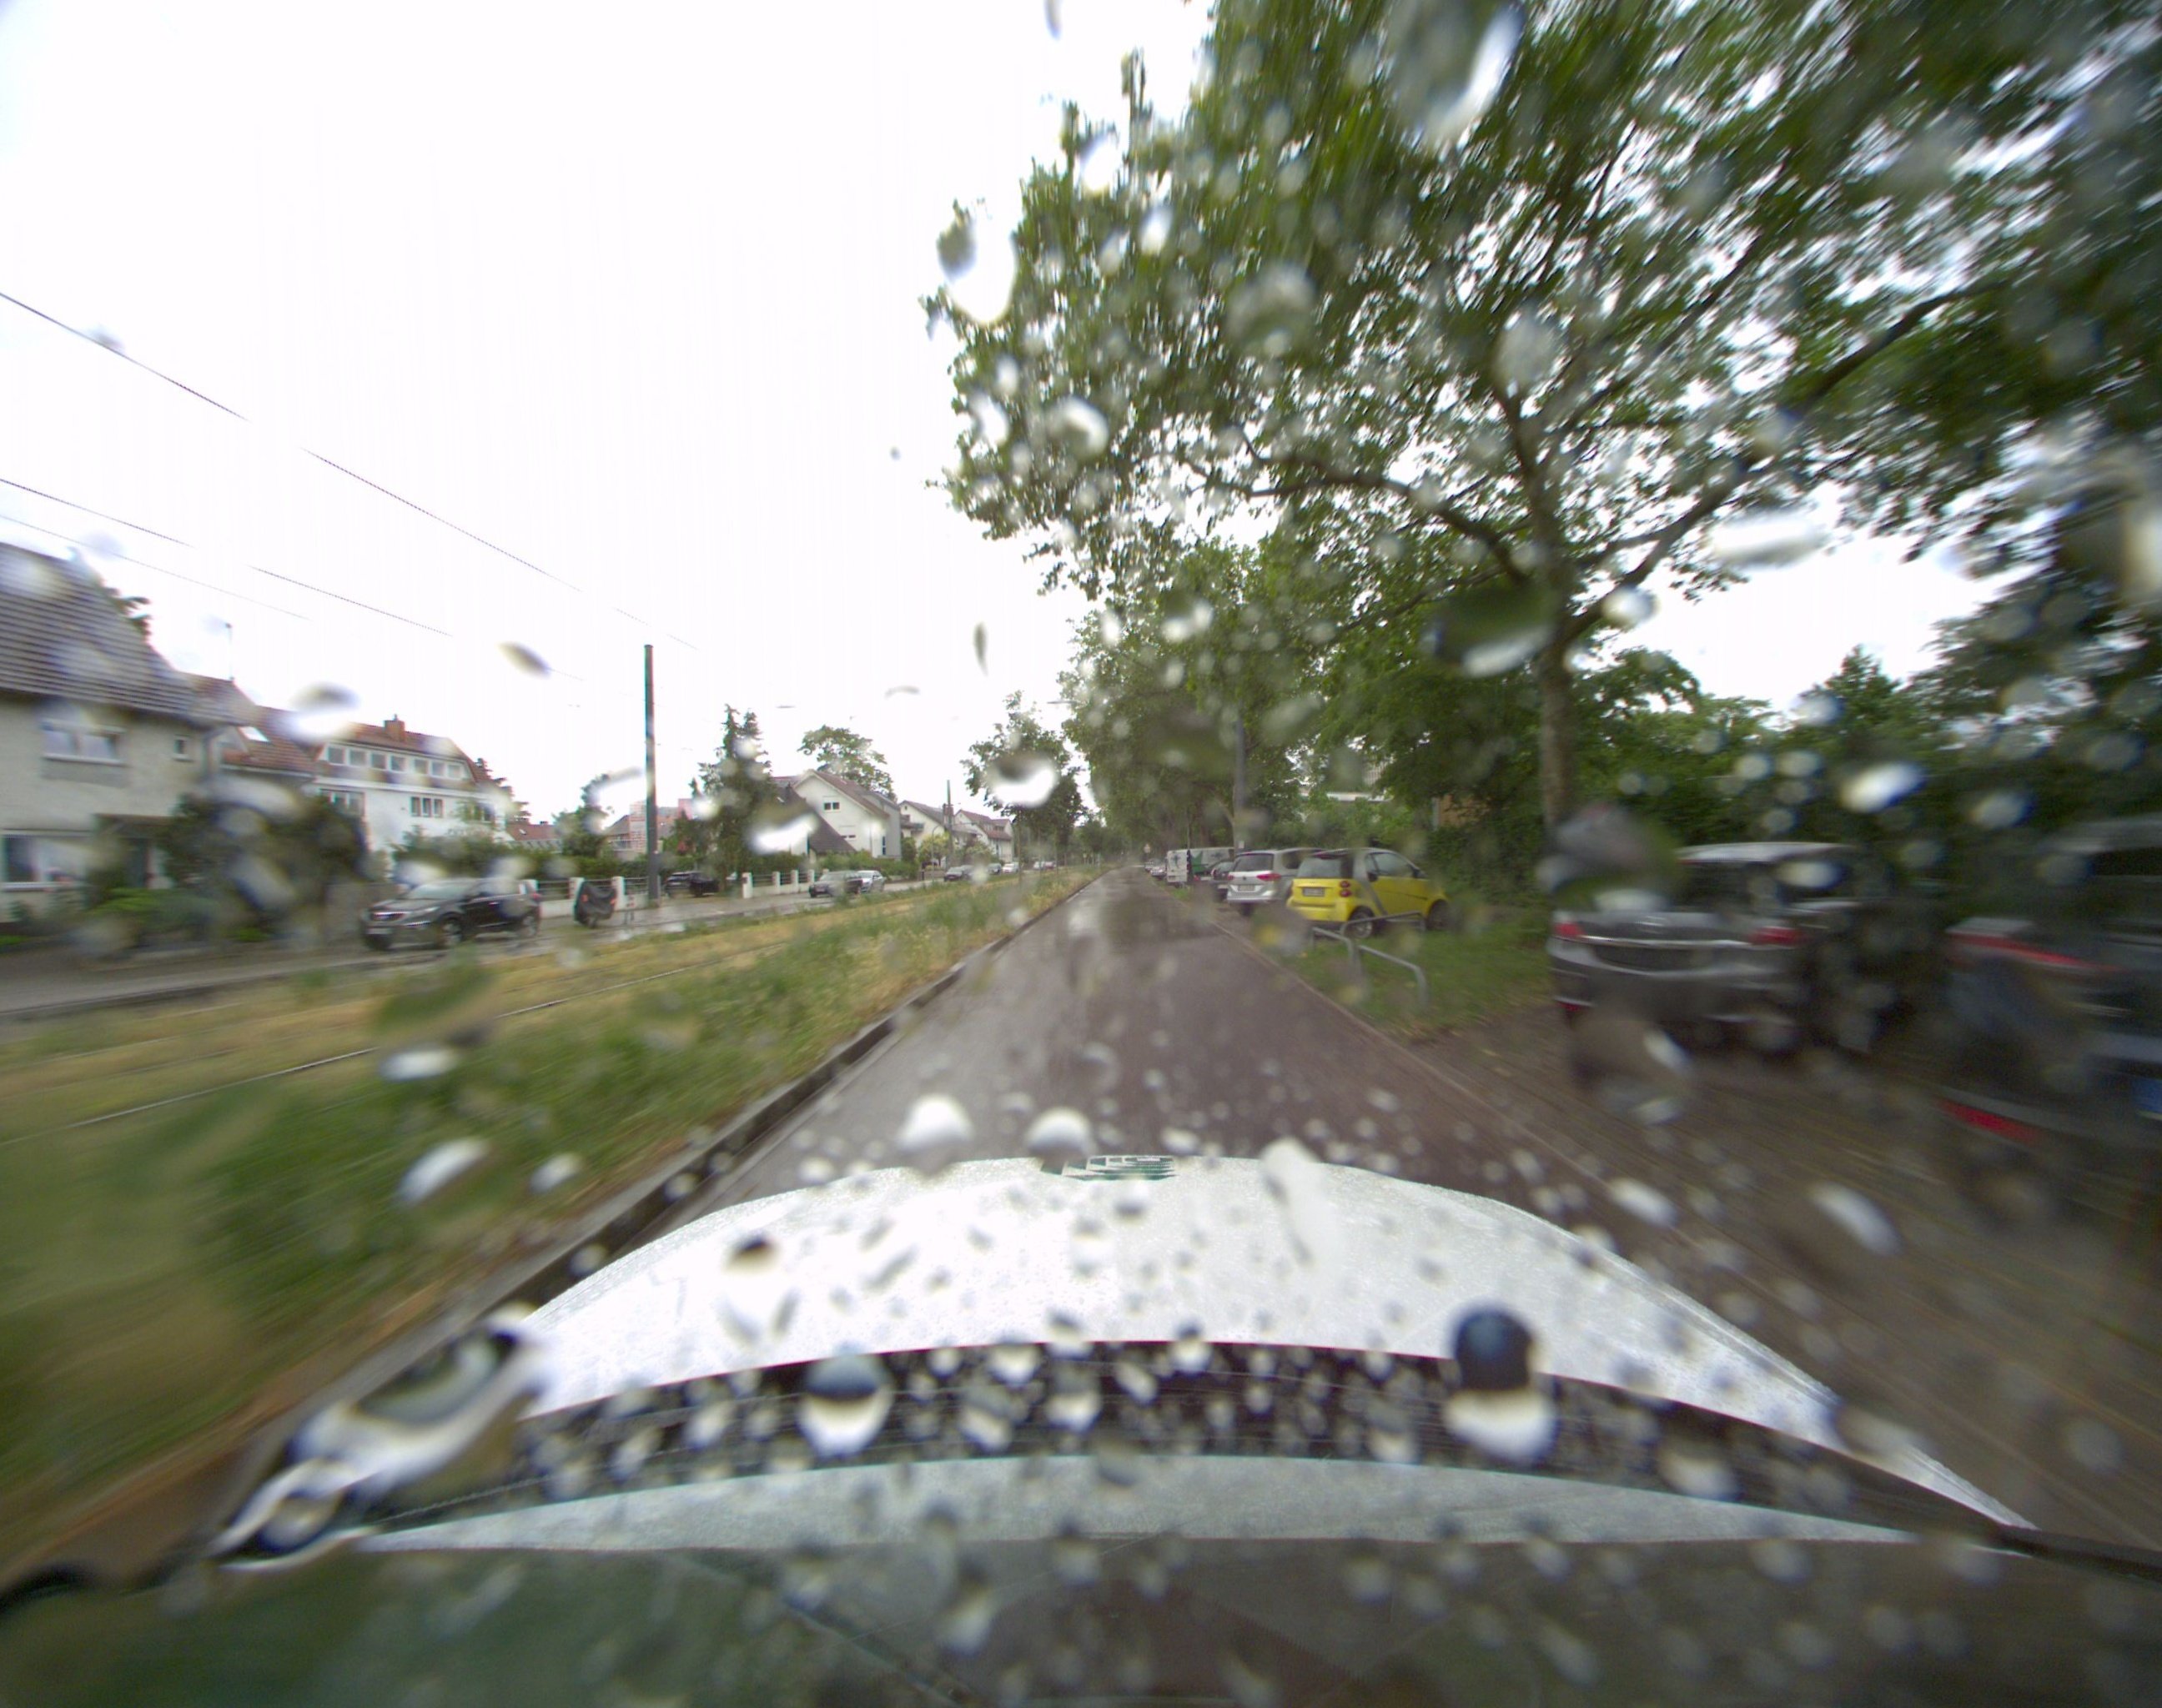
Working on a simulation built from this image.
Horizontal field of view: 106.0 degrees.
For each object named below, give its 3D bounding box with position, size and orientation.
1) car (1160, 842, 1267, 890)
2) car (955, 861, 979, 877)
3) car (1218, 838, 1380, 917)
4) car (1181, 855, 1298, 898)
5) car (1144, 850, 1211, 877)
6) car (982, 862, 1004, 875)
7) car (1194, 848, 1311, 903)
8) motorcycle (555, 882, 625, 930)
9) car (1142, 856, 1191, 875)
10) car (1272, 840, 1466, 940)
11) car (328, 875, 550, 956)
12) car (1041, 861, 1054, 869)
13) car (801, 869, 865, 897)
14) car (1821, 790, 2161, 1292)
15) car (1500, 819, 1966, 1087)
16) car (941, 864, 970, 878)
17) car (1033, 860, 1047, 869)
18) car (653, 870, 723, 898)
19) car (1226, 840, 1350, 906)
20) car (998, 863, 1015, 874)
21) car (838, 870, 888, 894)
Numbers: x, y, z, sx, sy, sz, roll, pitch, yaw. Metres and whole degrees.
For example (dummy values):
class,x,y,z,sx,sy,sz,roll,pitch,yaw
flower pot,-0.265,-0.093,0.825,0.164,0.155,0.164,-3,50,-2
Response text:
class,x,y,z,sx,sy,sz,roll,pitch,yaw
car,6.545,0.548,39.974,5.049,2.013,1.979,-4,1,-33
car,-12.024,1.576,86.129,1.866,1.550,3.873,0,0,3
car,5.498,0.547,20.373,4.066,1.641,1.636,-3,-1,-36
car,5.845,0.796,29.770,4.326,1.384,1.721,-1,0,-37
car,6.999,0.666,59.082,4.575,1.544,1.870,-5,1,-30
car,-11.125,1.790,103.467,1.984,1.516,4.210,0,0,4
car,5.627,0.684,26.628,3.419,1.518,1.830,-3,-1,-35
motorcycle,-15.530,1.588,25.731,2.654,1.411,1.274,-2,-2,44
car,8.801,1.149,83.950,4.794,1.668,1.974,-3,0,-34
car,5.063,0.592,14.338,2.911,1.466,1.589,-4,-1,-27
car,-15.712,1.415,20.306,1.987,1.674,4.388,-1,-1,1
car,-6.528,2.160,159.437,1.984,1.488,4.210,0,0,4
car,-14.160,1.636,46.724,1.984,1.455,4.536,0,0,4
car,5.006,0.476,3.321,3.817,1.532,1.865,-4,0,-31
car,5.328,0.553,6.505,4.080,1.418,1.724,-3,-1,-34
car,-12.467,1.673,81.177,1.984,1.350,4.245,0,0,4
car,-7.366,1.914,145.669,1.984,1.581,4.522,0,0,4
car,-22.544,1.719,46.854,1.985,1.455,3.921,0,0,2
car,6.030,0.544,23.702,3.287,1.671,1.577,-3,-1,-32
car,-10.452,2.020,115.090,1.788,1.488,3.601,0,0,4
car,-14.017,1.768,52.570,1.986,1.411,3.974,0,0,2
